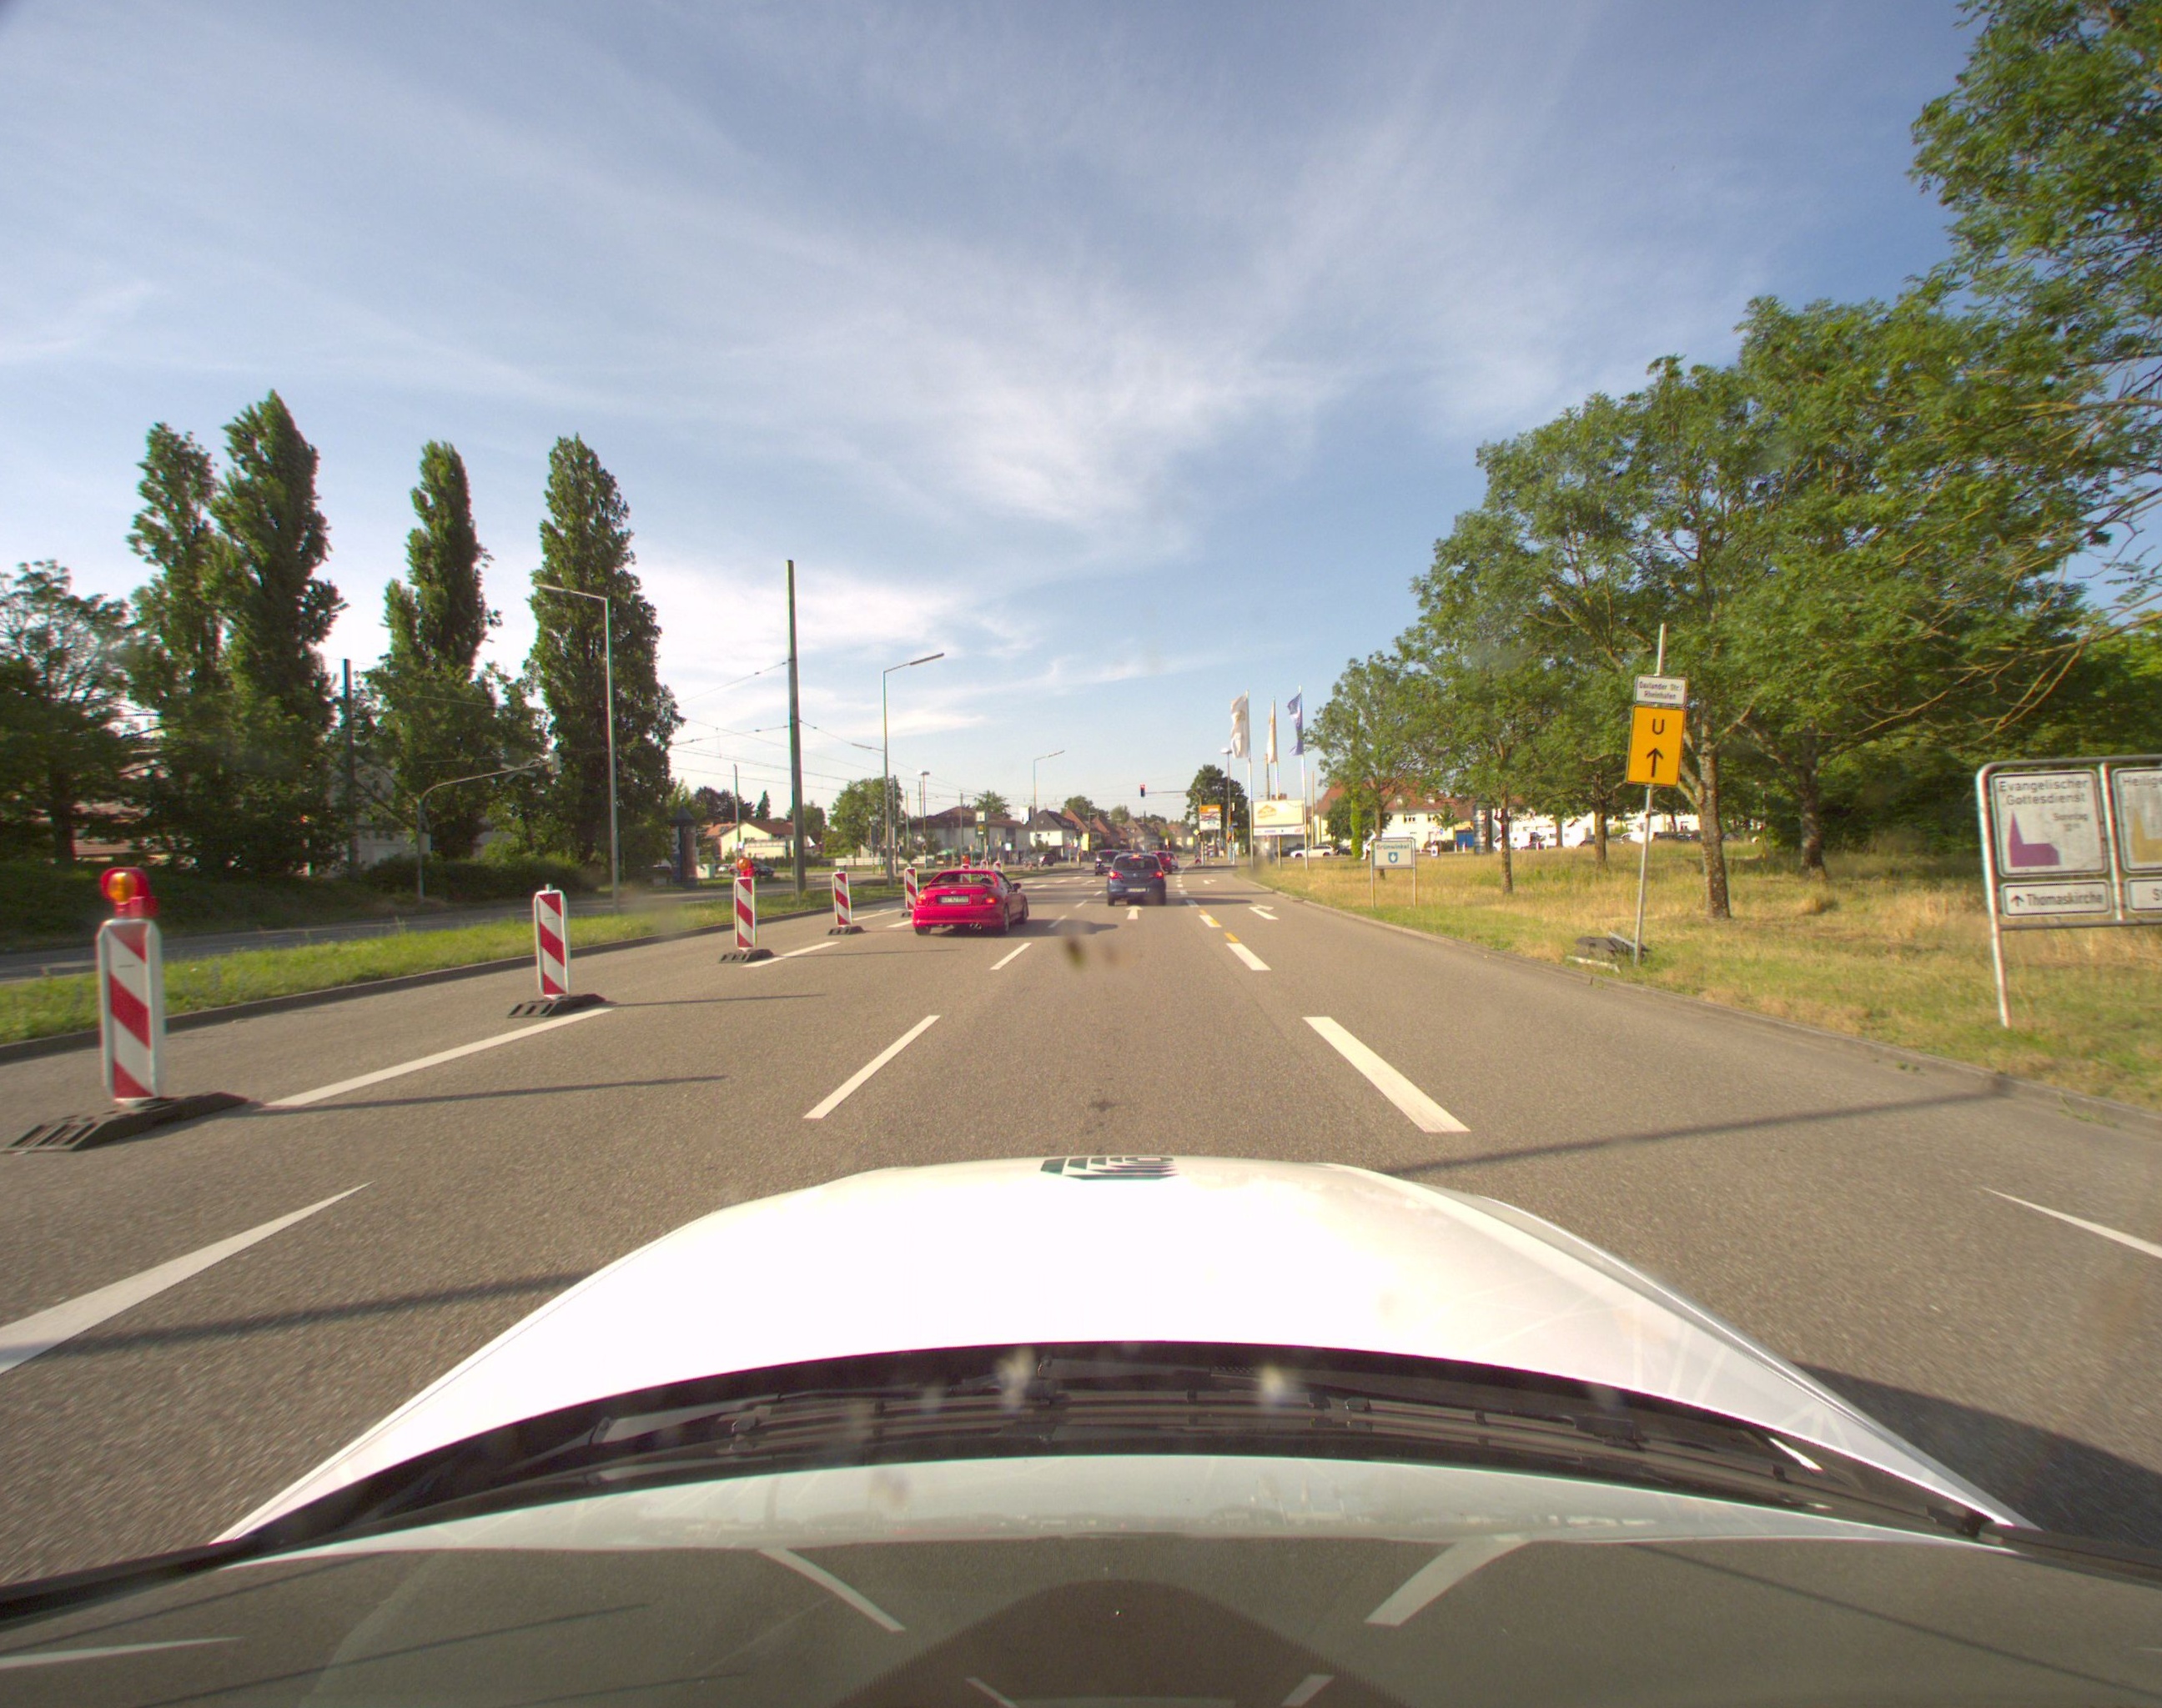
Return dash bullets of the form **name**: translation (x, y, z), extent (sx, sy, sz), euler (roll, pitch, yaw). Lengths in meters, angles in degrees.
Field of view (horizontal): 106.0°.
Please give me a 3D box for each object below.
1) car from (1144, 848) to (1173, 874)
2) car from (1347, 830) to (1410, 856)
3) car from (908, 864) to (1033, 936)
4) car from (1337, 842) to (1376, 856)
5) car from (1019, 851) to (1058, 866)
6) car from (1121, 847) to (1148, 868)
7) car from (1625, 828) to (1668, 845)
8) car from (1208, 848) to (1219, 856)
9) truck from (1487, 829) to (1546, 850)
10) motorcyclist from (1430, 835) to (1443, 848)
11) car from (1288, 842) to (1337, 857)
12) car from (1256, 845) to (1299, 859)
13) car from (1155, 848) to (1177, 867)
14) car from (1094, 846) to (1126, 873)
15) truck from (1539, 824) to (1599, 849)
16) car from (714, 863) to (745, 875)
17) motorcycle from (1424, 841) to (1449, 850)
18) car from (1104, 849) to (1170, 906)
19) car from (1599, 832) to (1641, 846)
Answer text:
- **car**: translation (5.119, 0.441, 53.473), extent (1.697, 1.551, 3.986), euler (-2, 0, 7)
- **car**: translation (32.448, -1.202, 88.985), extent (6.170, 2.583, 2.005), euler (-2, 0, 9)
- **car**: translation (-2.073, 0.838, 16.343), extent (1.723, 1.206, 3.851), euler (0, 0, 4)
- **car**: translation (31.255, -0.561, 92.621), extent (3.962, 1.453, 1.721), euler (-2, 0, 10)
- **car**: translation (-4.947, 0.529, 94.019), extent (3.949, 1.486, 2.012), euler (-2, 0, 27)
- **car**: translation (4.466, 0.293, 67.908), extent (1.496, 1.651, 4.760), euler (-2, 0, 12)
- **car**: translation (69.608, -2.090, 100.234), extent (1.905, 1.920, 3.866), euler (-2, 0, -36)
- **car**: translation (22.664, -0.283, 139.378), extent (1.664, 1.398, 4.011), euler (0, 0, 10)
- **truck**: translation (54.047, -1.754, 101.277), extent (2.281, 2.524, 6.305), euler (-2, 1, -25)
- **motorcyclist**: translation (38.067, -1.327, 87.260), extent (1.059, 1.352, 0.681), euler (-2, 0, 8)
- **car**: translation (25.527, -0.493, 90.023), extent (5.063, 1.563, 1.845), euler (-2, 0, 10)
- **car**: translation (22.626, -0.231, 93.947), extent (4.794, 1.411, 1.721), euler (-2, 0, 10)
- **car**: translation (7.034, 0.281, 66.827), extent (1.647, 1.443, 4.023), euler (-2, 0, 7)
- **car**: translation (1.925, 0.329, 52.813), extent (1.754, 1.670, 4.092), euler (-1, 0, 7)
- **truck**: translation (60.309, -2.161, 100.692), extent (1.905, 2.854, 6.011), euler (-2, 0, -36)
- **car**: translation (-53.705, 2.297, 124.527), extent (1.978, 1.684, 4.238), euler (0, -1, 16)
- **motorcycle**: translation (38.085, -0.926, 87.263), extent (2.258, 0.866, 0.692), euler (-2, 0, 8)
- **car**: translation (1.594, 0.635, 24.575), extent (1.735, 1.505, 4.223), euler (-2, 0, 1)
- **car**: translation (66.445, -1.845, 100.382), extent (1.906, 1.456, 3.863), euler (-2, 0, -39)
